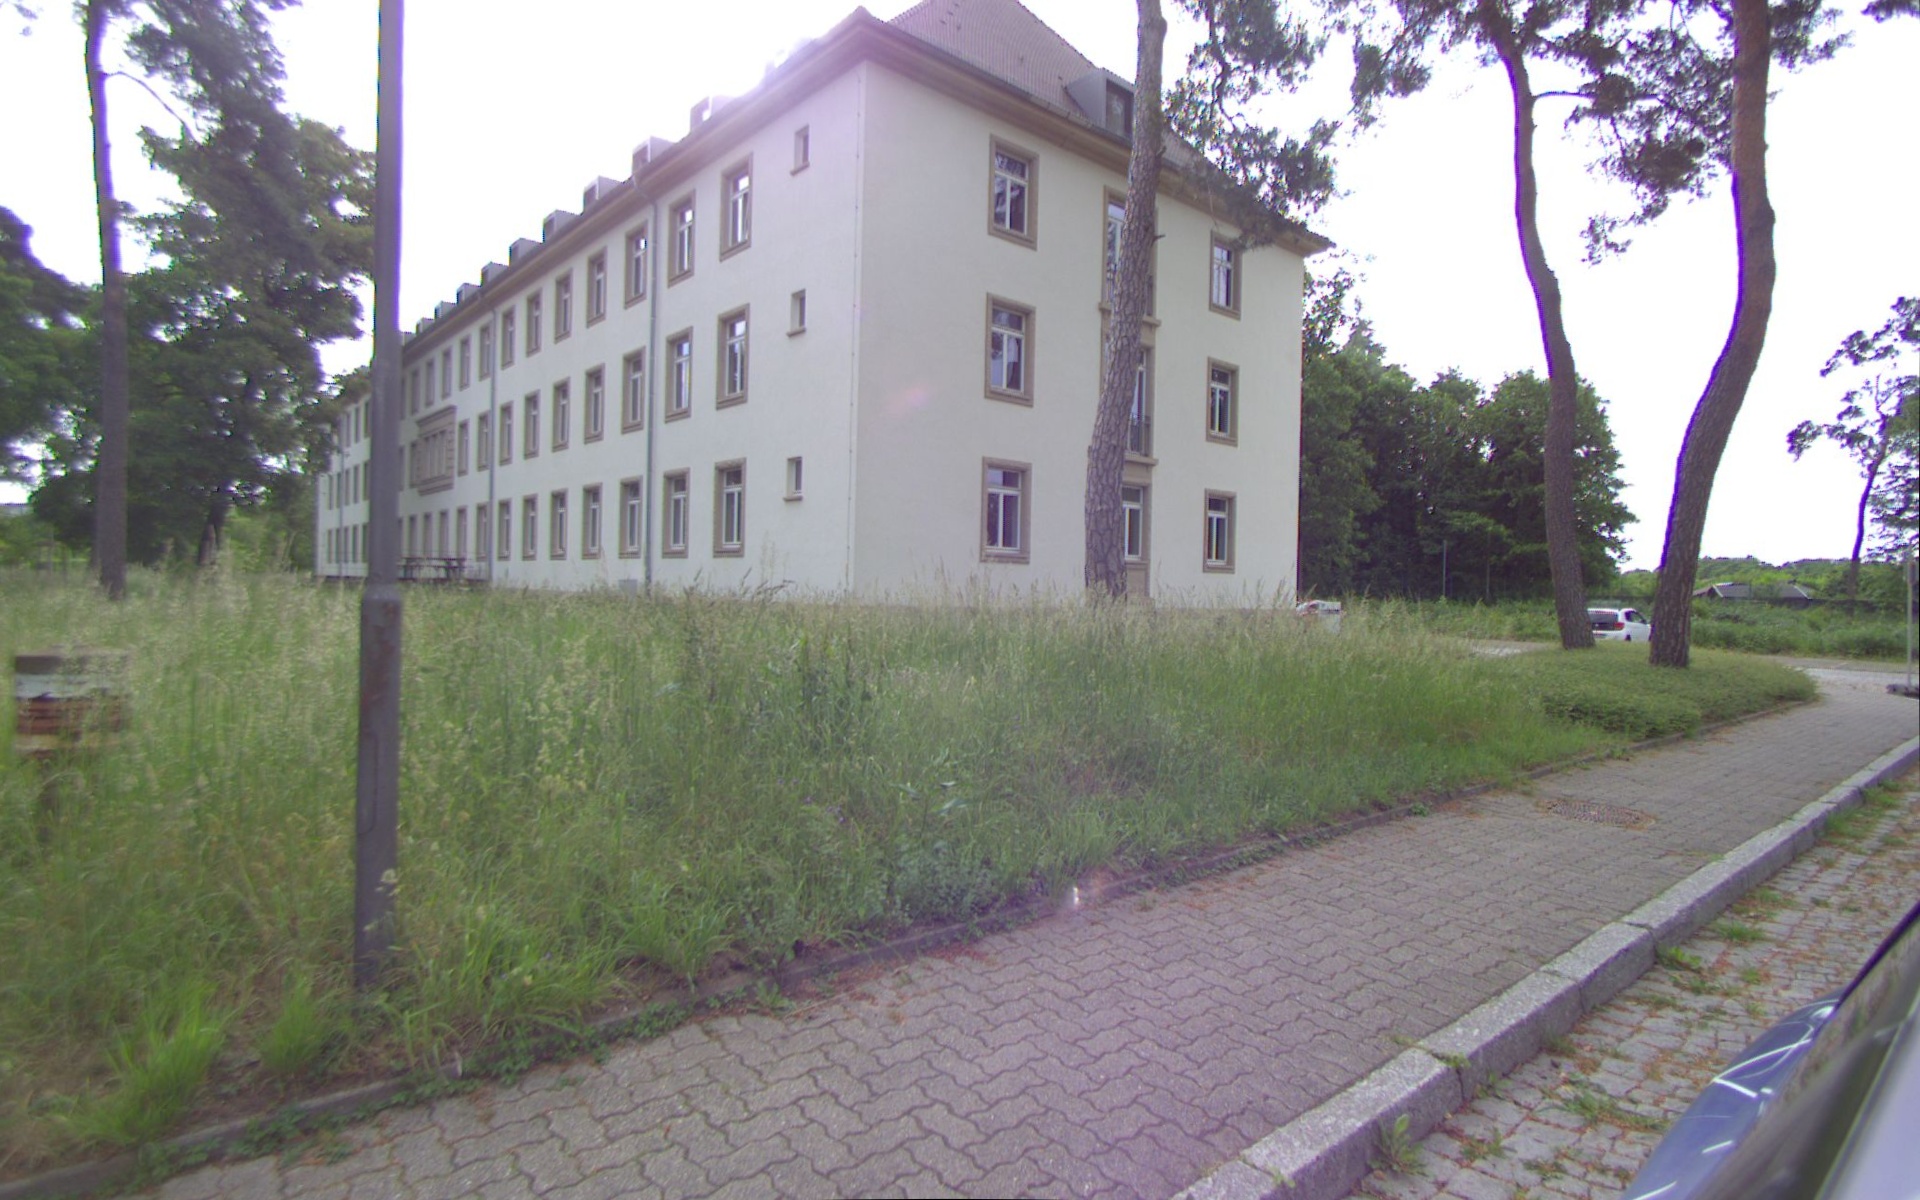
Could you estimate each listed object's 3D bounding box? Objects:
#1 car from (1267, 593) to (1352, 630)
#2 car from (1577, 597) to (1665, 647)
[{"bbox_3d":[14.646,0.459,42.334,3.931,1.345,1.640,-2,2,-41],"label":"car"},{"bbox_3d":[22.149,0.700,33.891,3.221,1.451,1.640,-2,3,-41],"label":"car"}]
